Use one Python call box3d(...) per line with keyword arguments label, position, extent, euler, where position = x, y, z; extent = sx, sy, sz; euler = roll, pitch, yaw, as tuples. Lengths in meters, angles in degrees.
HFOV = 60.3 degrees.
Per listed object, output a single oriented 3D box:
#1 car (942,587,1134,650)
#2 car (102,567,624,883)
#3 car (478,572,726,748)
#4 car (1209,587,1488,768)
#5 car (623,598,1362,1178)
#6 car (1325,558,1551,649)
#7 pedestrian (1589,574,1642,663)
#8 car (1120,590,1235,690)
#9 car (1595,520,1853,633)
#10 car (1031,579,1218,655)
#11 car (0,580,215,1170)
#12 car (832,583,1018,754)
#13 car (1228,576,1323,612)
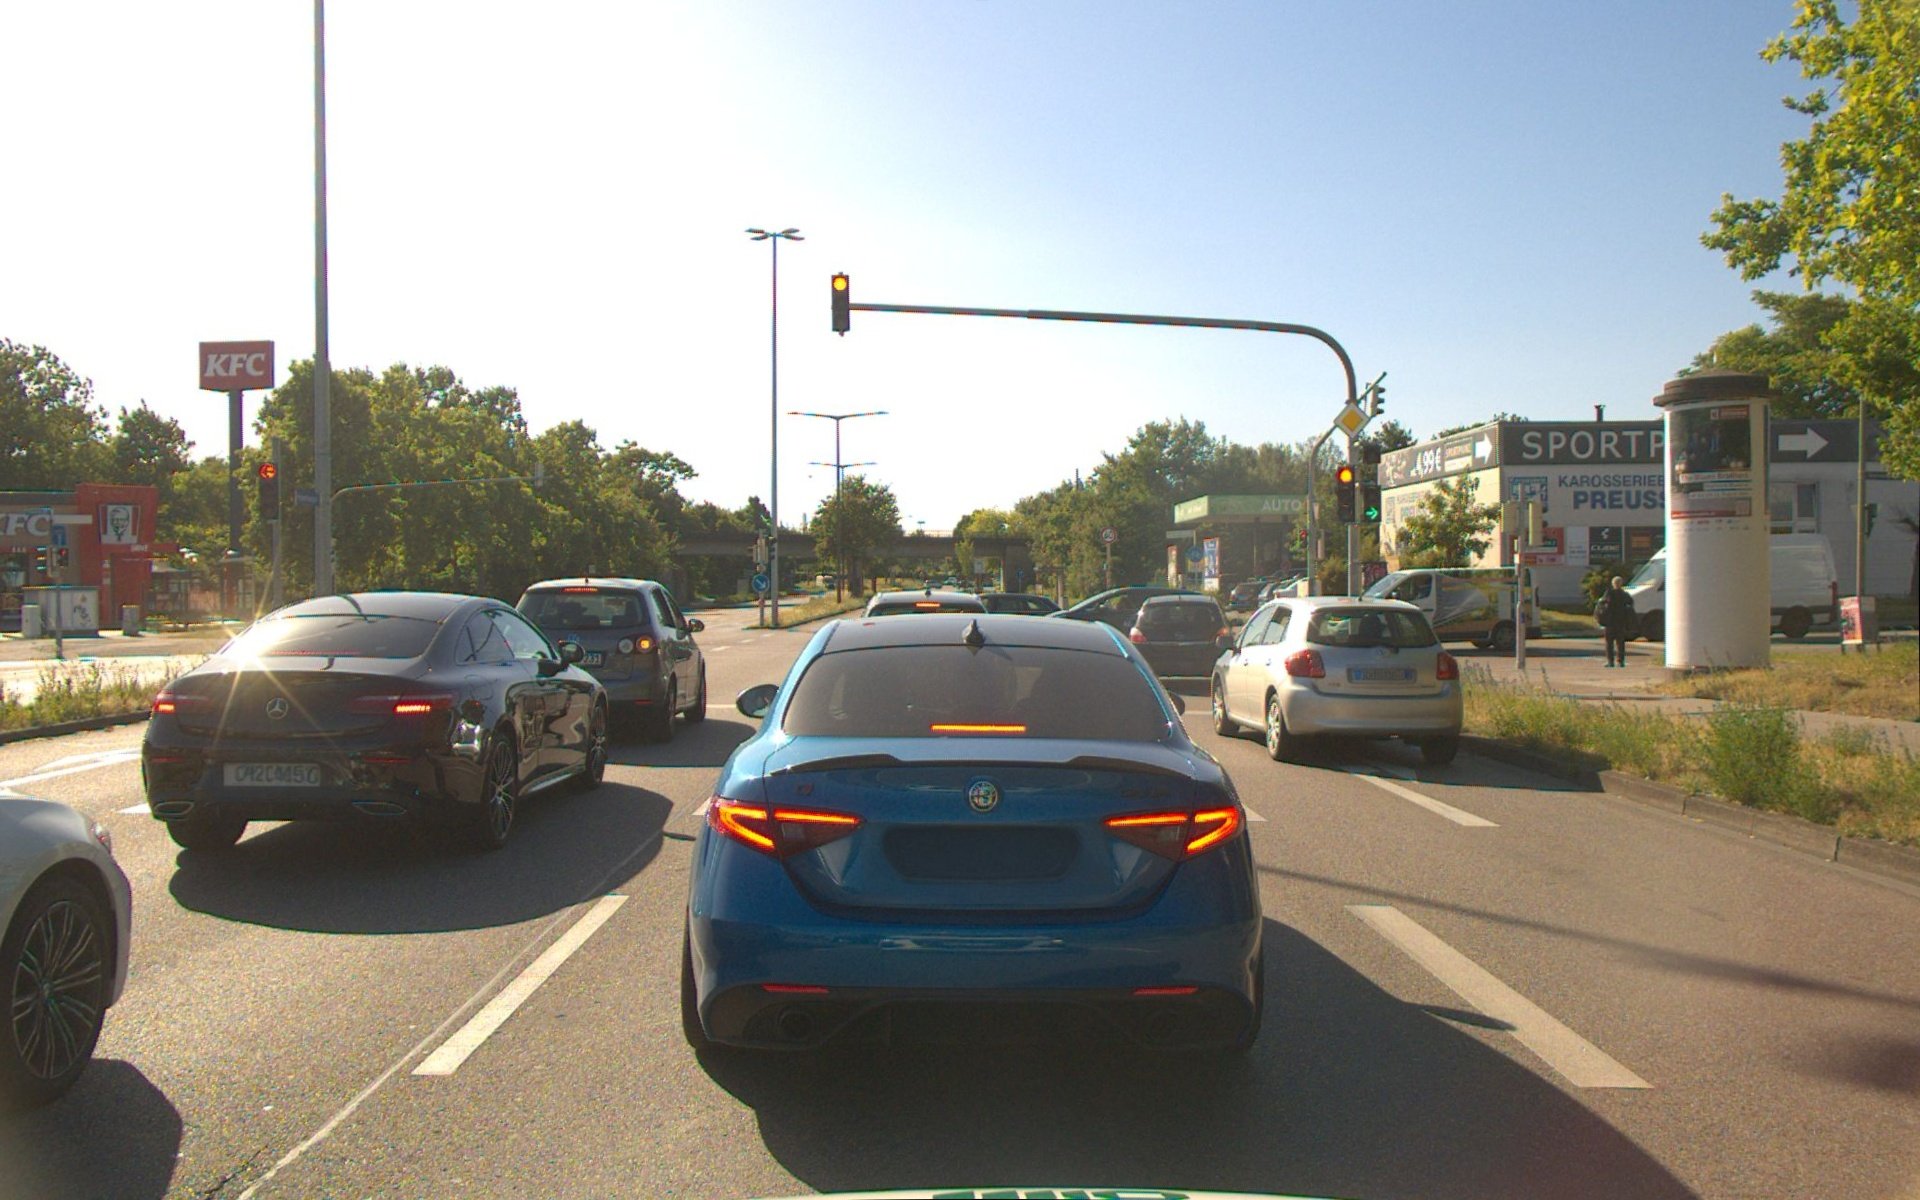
box3d(label="car", position=(1.940, 0.473, 42.035), extent=(4.722, 1.493, 1.758), euler=(1, 0, -3))
box3d(label="car", position=(-3.460, 0.619, 10.587), extent=(1.775, 1.578, 4.542), euler=(1, 0, -1))
box3d(label="car", position=(-3.590, 0.562, 17.344), extent=(1.776, 1.578, 4.351), euler=(1, 0, -2))
box3d(label="car", position=(3.728, 0.665, 16.593), extent=(1.747, 1.564, 4.107), euler=(1, 0, -1))
box3d(label="car", position=(0.112, 0.746, 6.098), extent=(1.870, 1.447, 3.719), euler=(1, 0, 1))
box3d(label="car", position=(11.409, 0.072, 39.673), extent=(4.854, 2.071, 1.880), euler=(-1, 0, -2))
box3d(label="pedestrian", position=(12.665, 0.360, 31.951), extent=(0.800, 1.698, 0.514), euler=(1, -1, -1))
box3d(label="car", position=(3.582, 0.602, 26.956), extent=(1.697, 1.467, 4.375), euler=(1, 0, 9))
box3d(label="car", position=(19.739, -0.593, 42.894), extent=(5.715, 2.719, 2.000), euler=(-1, -1, 0))
box3d(label="car", position=(3.834, 0.396, 38.989), extent=(4.219, 1.678, 1.637), euler=(1, 0, -2))
box3d(label="car", position=(-3.341, 0.708, 3.146), extent=(1.775, 1.512, 4.596), euler=(0, 0, 0))
box3d(label="car", position=(-0.291, 0.630, 16.877), extent=(1.669, 1.523, 3.719), euler=(1, 0, 1))
box3d(label="car", position=(14.251, -0.262, 74.903), extent=(3.905, 1.579, 2.000), euler=(1, 0, 0))
